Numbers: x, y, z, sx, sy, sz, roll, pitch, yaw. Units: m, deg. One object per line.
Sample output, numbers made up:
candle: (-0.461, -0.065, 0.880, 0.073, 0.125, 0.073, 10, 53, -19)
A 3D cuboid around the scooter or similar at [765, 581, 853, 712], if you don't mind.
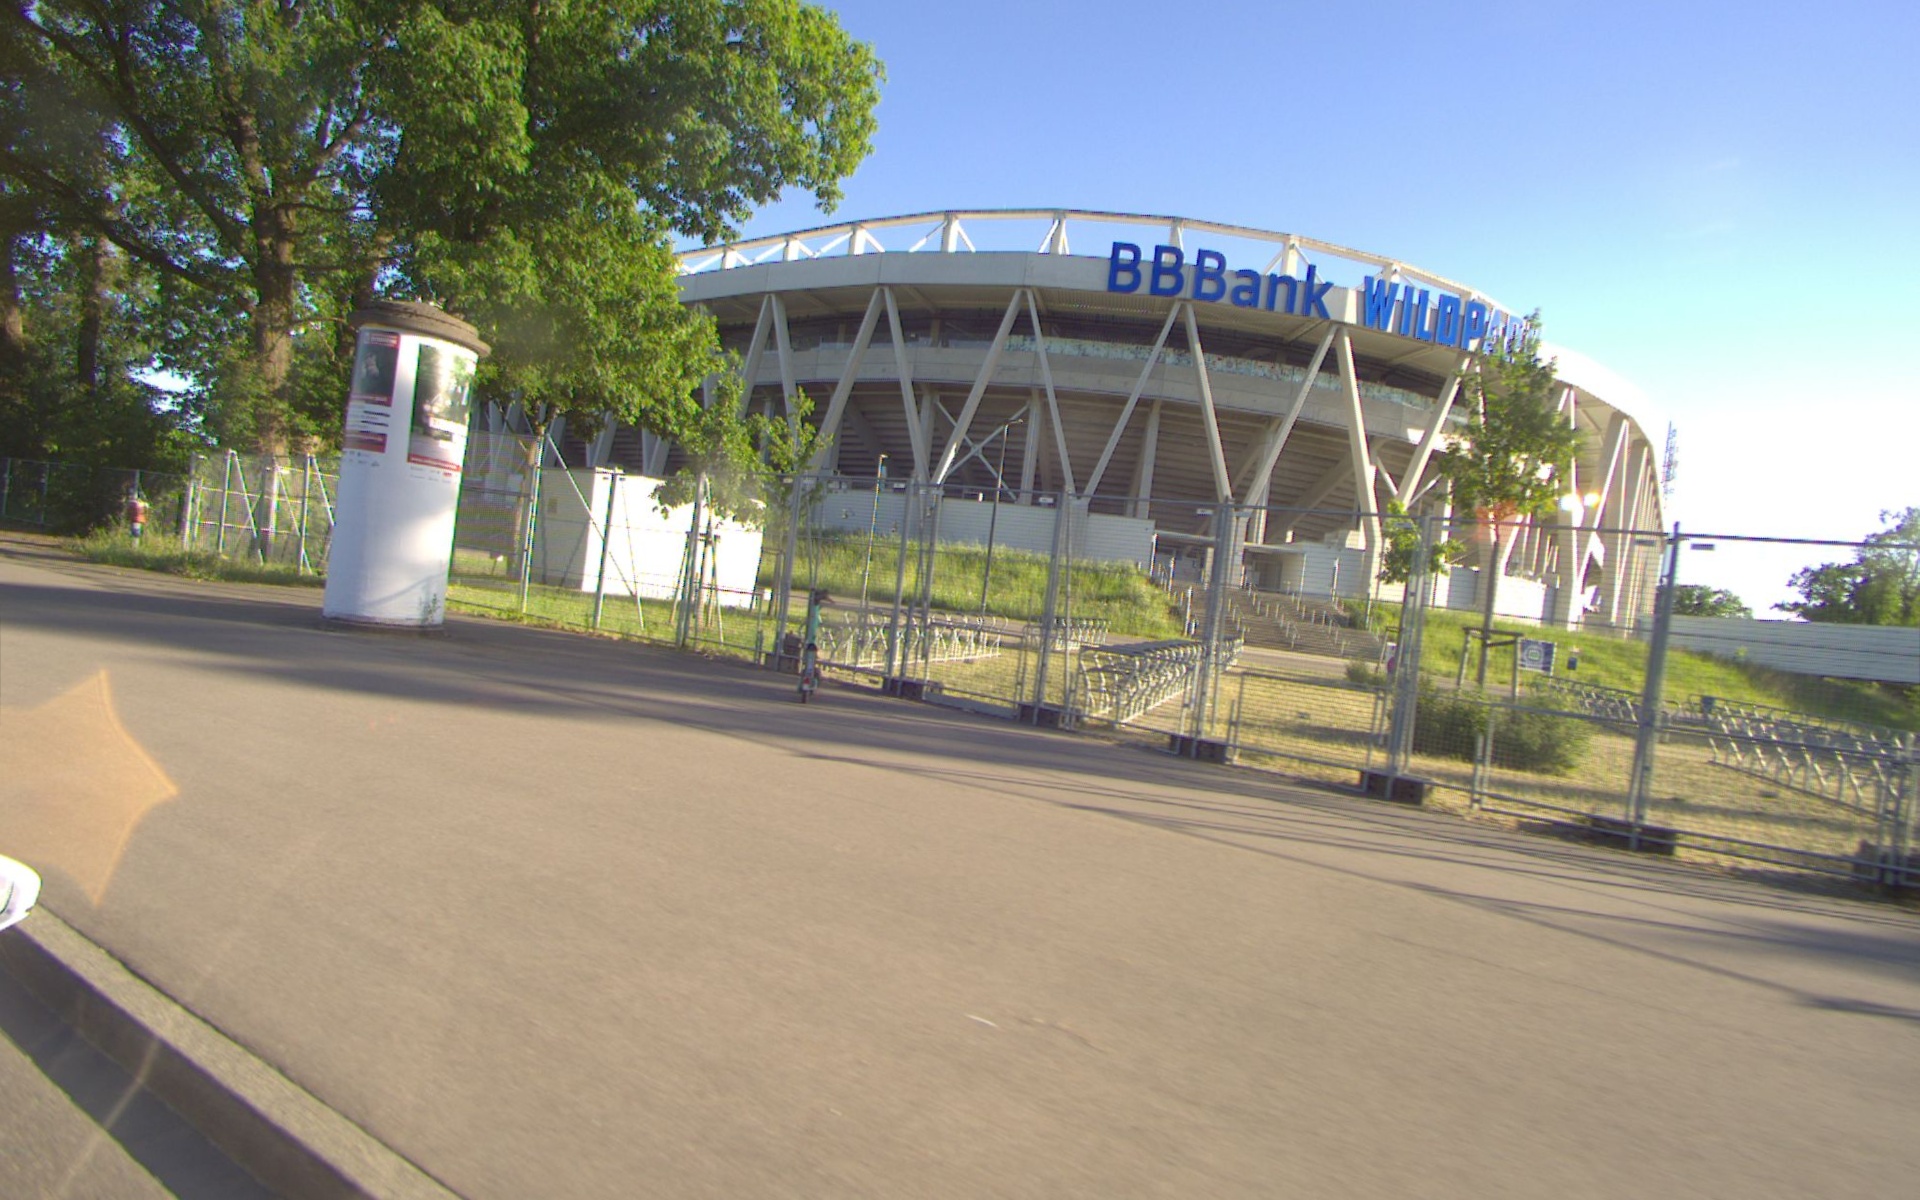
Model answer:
scooter or similar: (-1.732, 0.484, 11.327, 0.561, 1.272, 1.593, 7, 1, -19)
